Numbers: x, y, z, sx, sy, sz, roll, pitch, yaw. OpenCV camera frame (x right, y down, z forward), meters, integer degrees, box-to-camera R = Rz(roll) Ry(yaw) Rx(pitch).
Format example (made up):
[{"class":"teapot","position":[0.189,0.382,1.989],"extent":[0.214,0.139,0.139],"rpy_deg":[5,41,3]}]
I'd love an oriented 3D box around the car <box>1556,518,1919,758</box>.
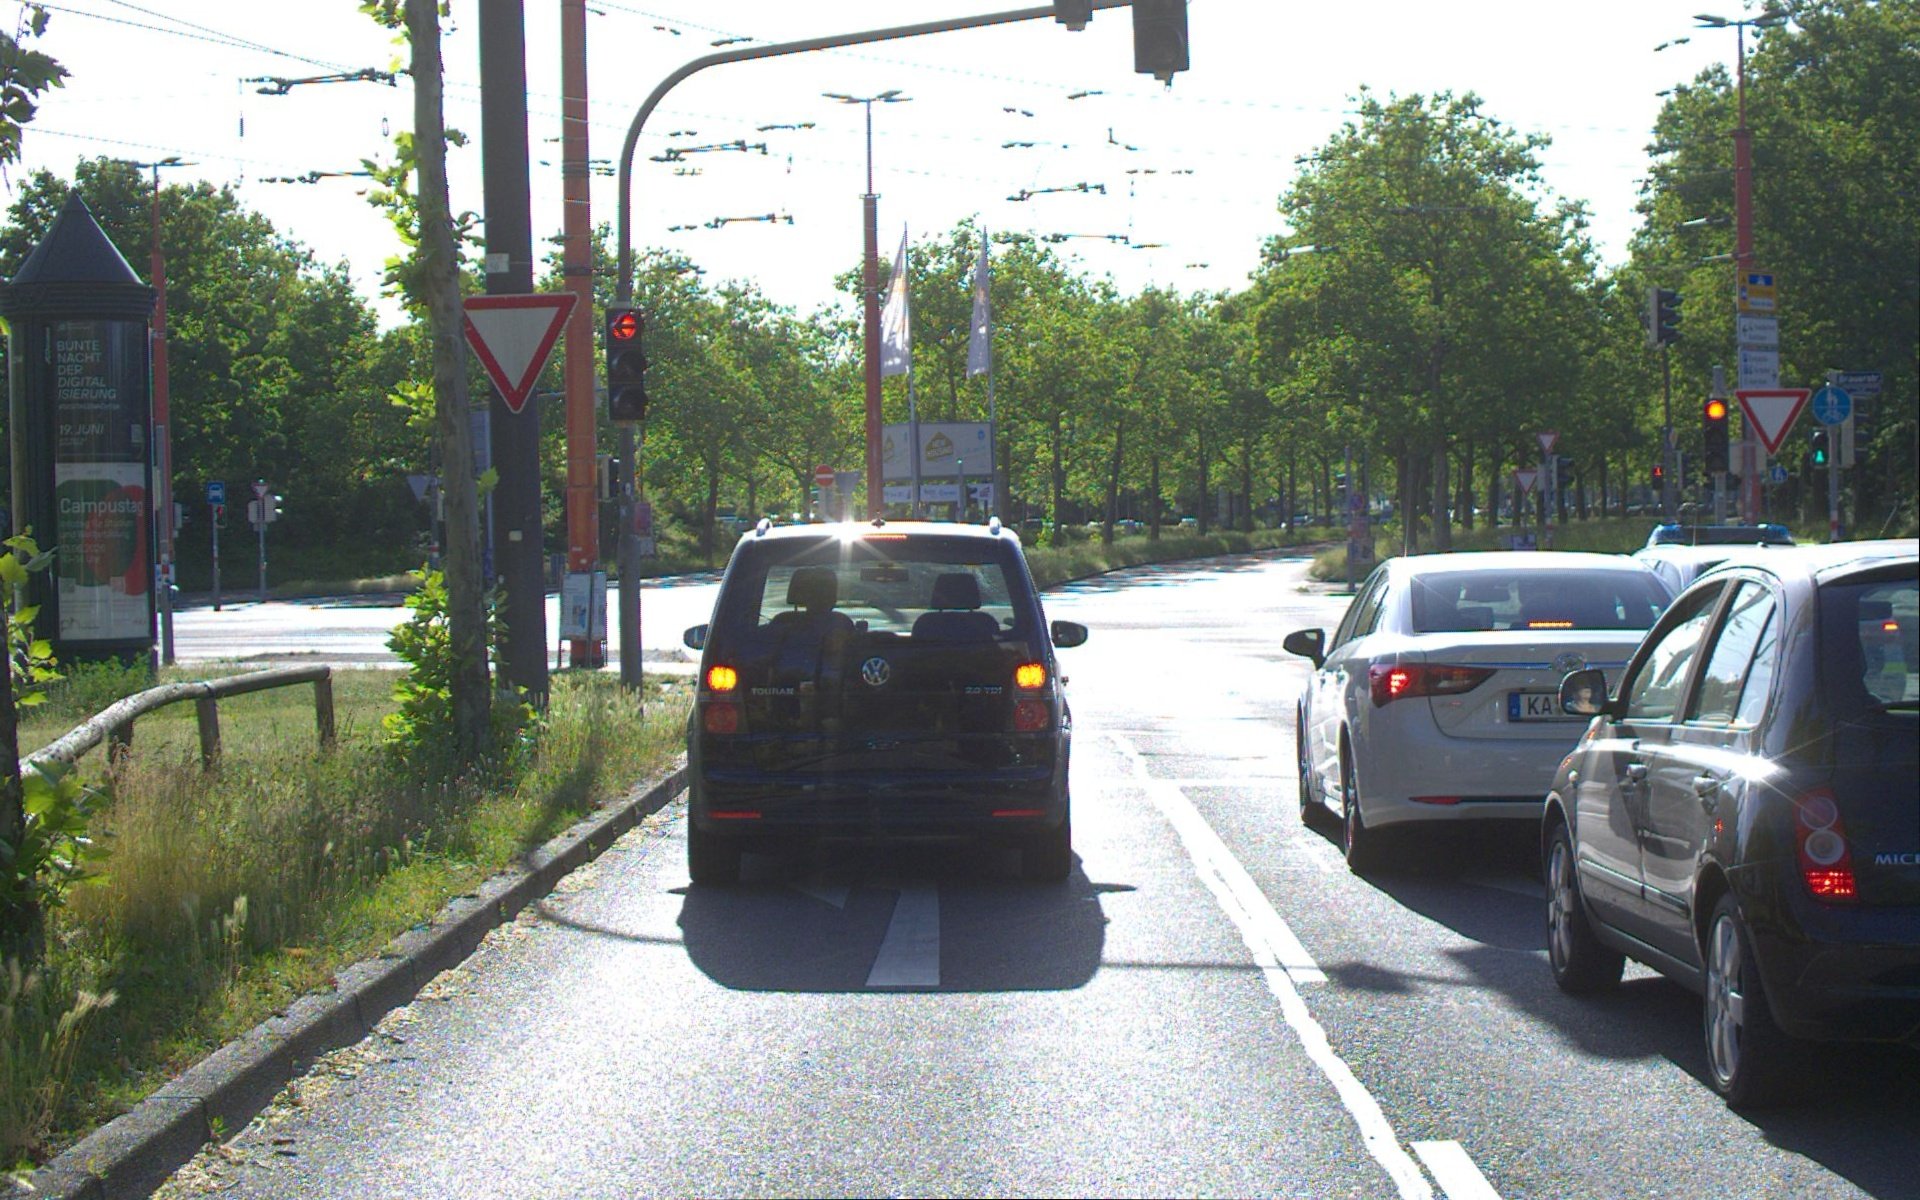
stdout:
[{"class":"car","position":[5.868,0.211,25.994],"extent":[1.893,1.627,4.502],"rpy_deg":[-1,1,0]}]

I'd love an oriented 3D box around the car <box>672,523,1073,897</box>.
[{"class":"car","position":[-0.393,0.450,16.376],"extent":[1.710,1.598,3.350],"rpy_deg":[0,1,-1]}]

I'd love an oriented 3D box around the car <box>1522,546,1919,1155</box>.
[{"class":"car","position":[2.814,0.598,10.311],"extent":[1.639,1.489,3.503],"rpy_deg":[0,1,-1]}]

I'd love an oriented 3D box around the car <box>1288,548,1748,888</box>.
[{"class":"car","position":[2.608,0.487,16.924],"extent":[1.678,1.470,4.130],"rpy_deg":[0,1,1]}]
